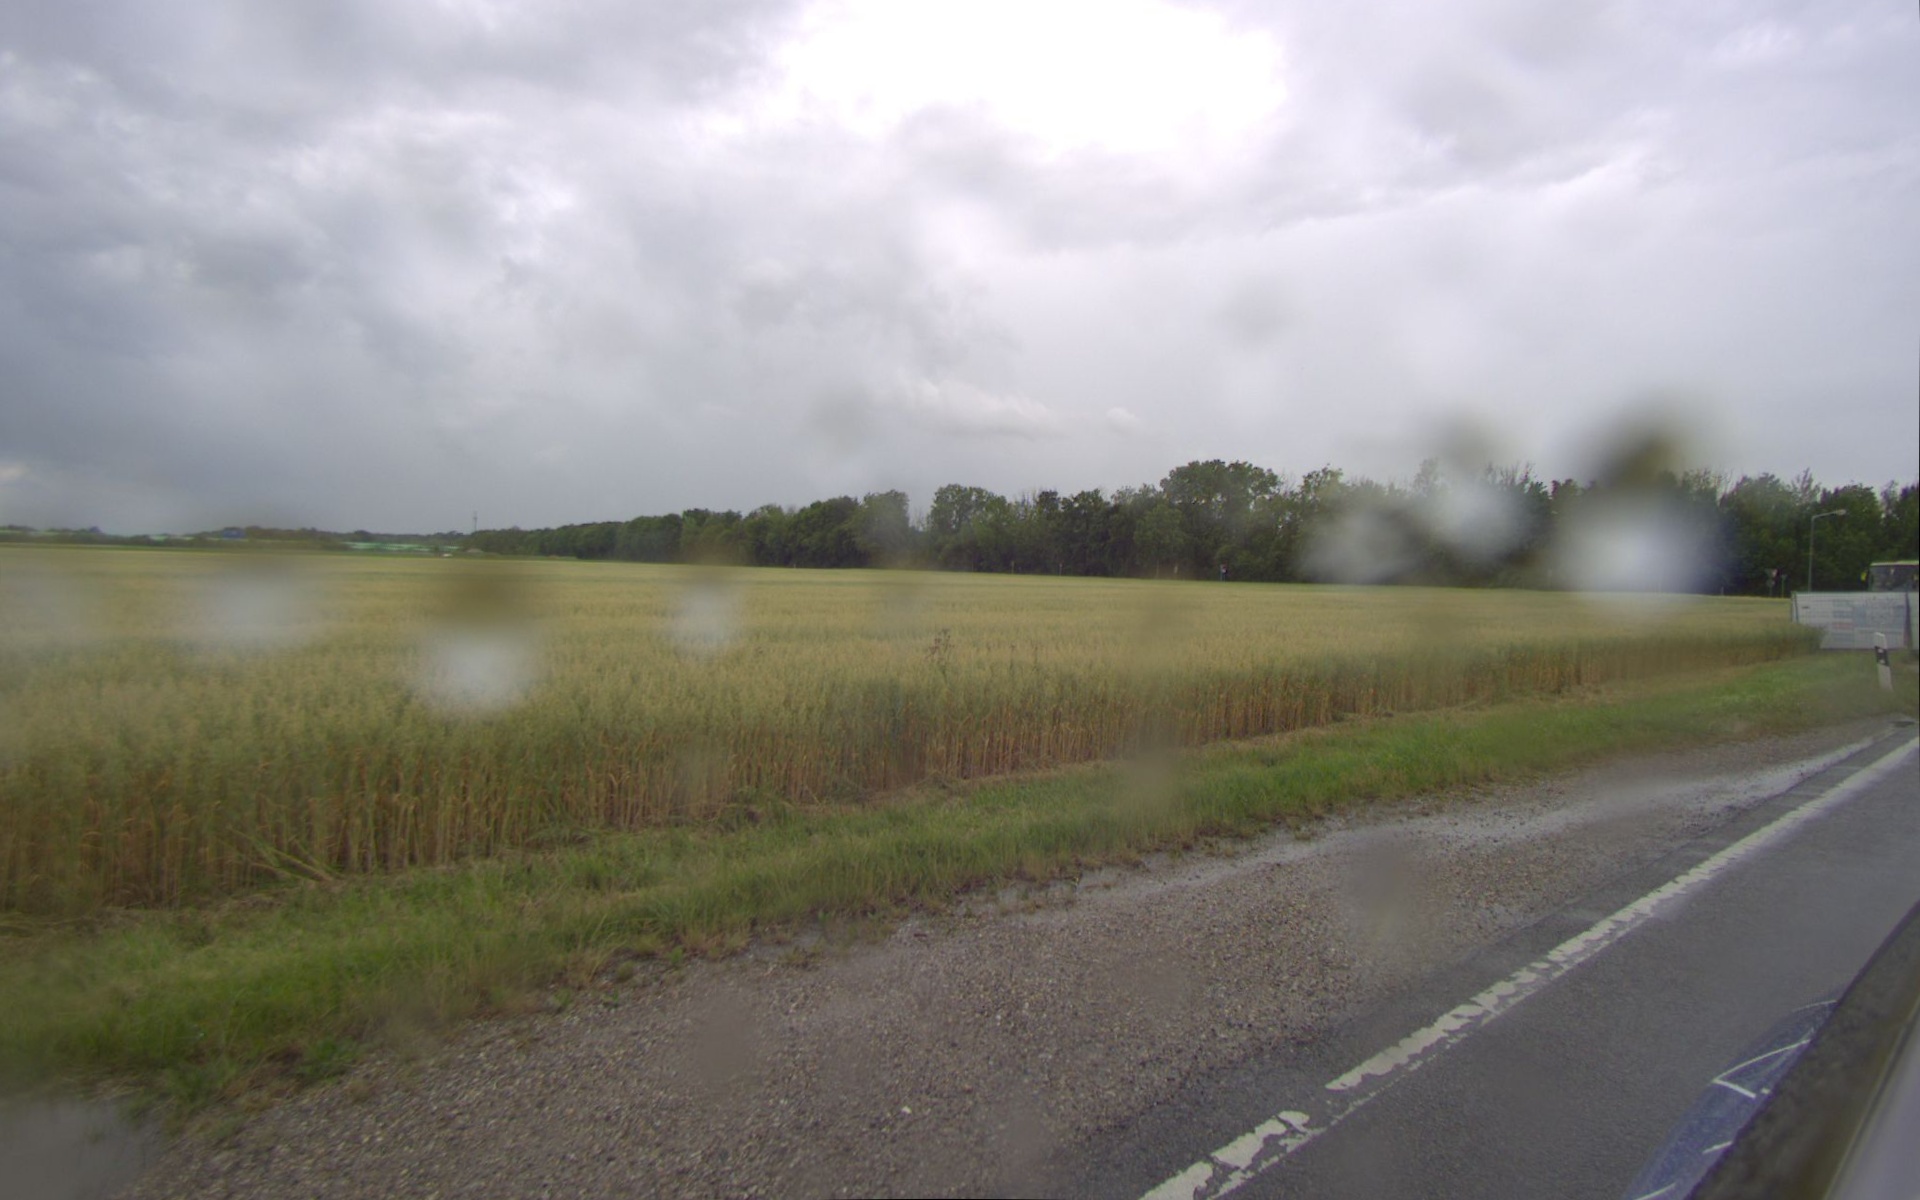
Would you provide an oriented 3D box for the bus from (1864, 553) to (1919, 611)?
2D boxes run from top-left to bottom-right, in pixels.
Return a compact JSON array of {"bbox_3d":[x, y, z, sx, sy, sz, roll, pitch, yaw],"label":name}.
[{"bbox_3d":[67.699,-1.218,70.727,14.015,3.731,3.001,0,3,-33],"label":"bus"}]
